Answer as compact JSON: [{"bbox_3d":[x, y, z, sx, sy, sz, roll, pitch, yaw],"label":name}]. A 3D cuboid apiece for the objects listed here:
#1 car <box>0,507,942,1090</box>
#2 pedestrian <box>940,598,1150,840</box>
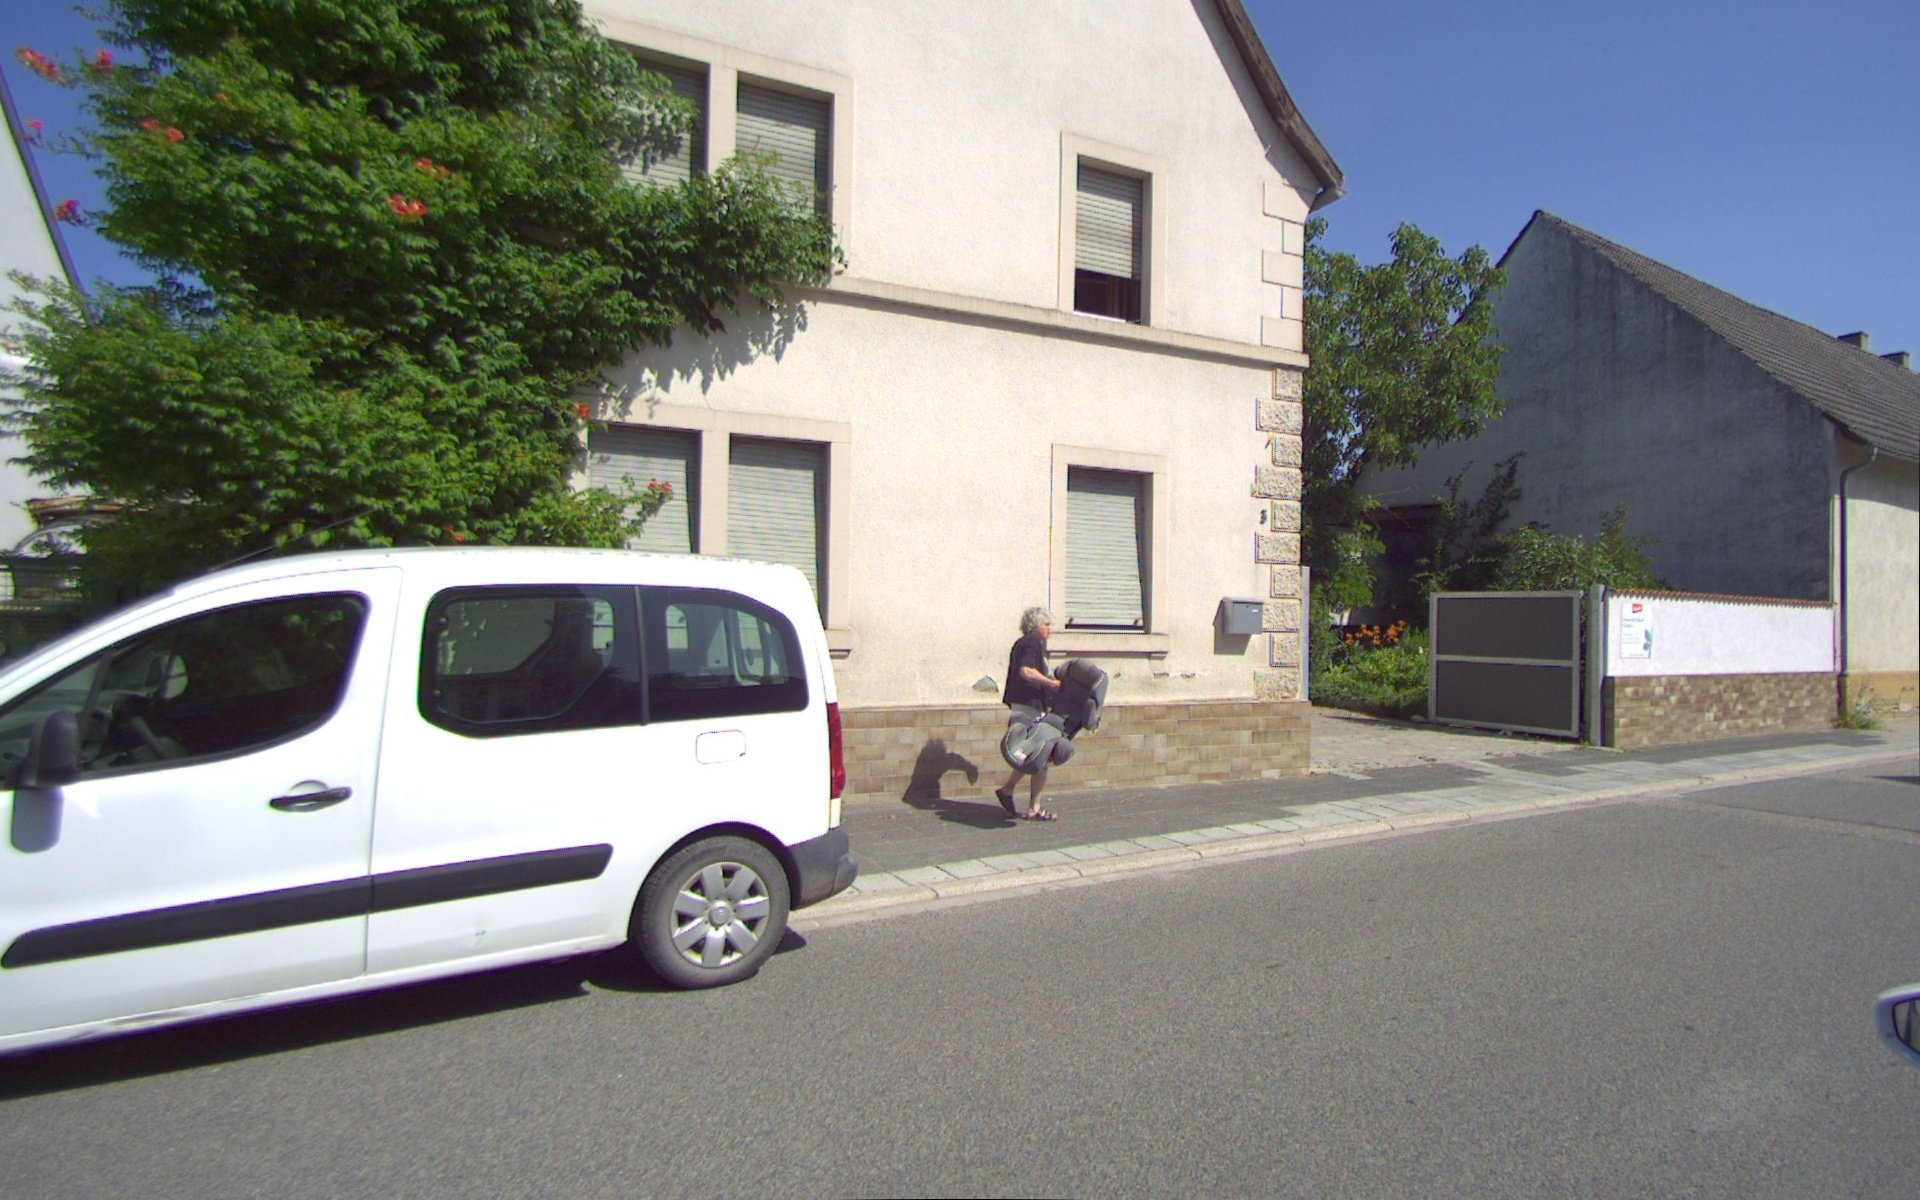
[{"bbox_3d":[-2.430,0.596,4.155,4.379,1.669,1.846,2,-1,-31],"label":"car"},{"bbox_3d":[0.597,0.790,7.257,1.126,1.572,1.009,1,-1,-30],"label":"pedestrian"}]
